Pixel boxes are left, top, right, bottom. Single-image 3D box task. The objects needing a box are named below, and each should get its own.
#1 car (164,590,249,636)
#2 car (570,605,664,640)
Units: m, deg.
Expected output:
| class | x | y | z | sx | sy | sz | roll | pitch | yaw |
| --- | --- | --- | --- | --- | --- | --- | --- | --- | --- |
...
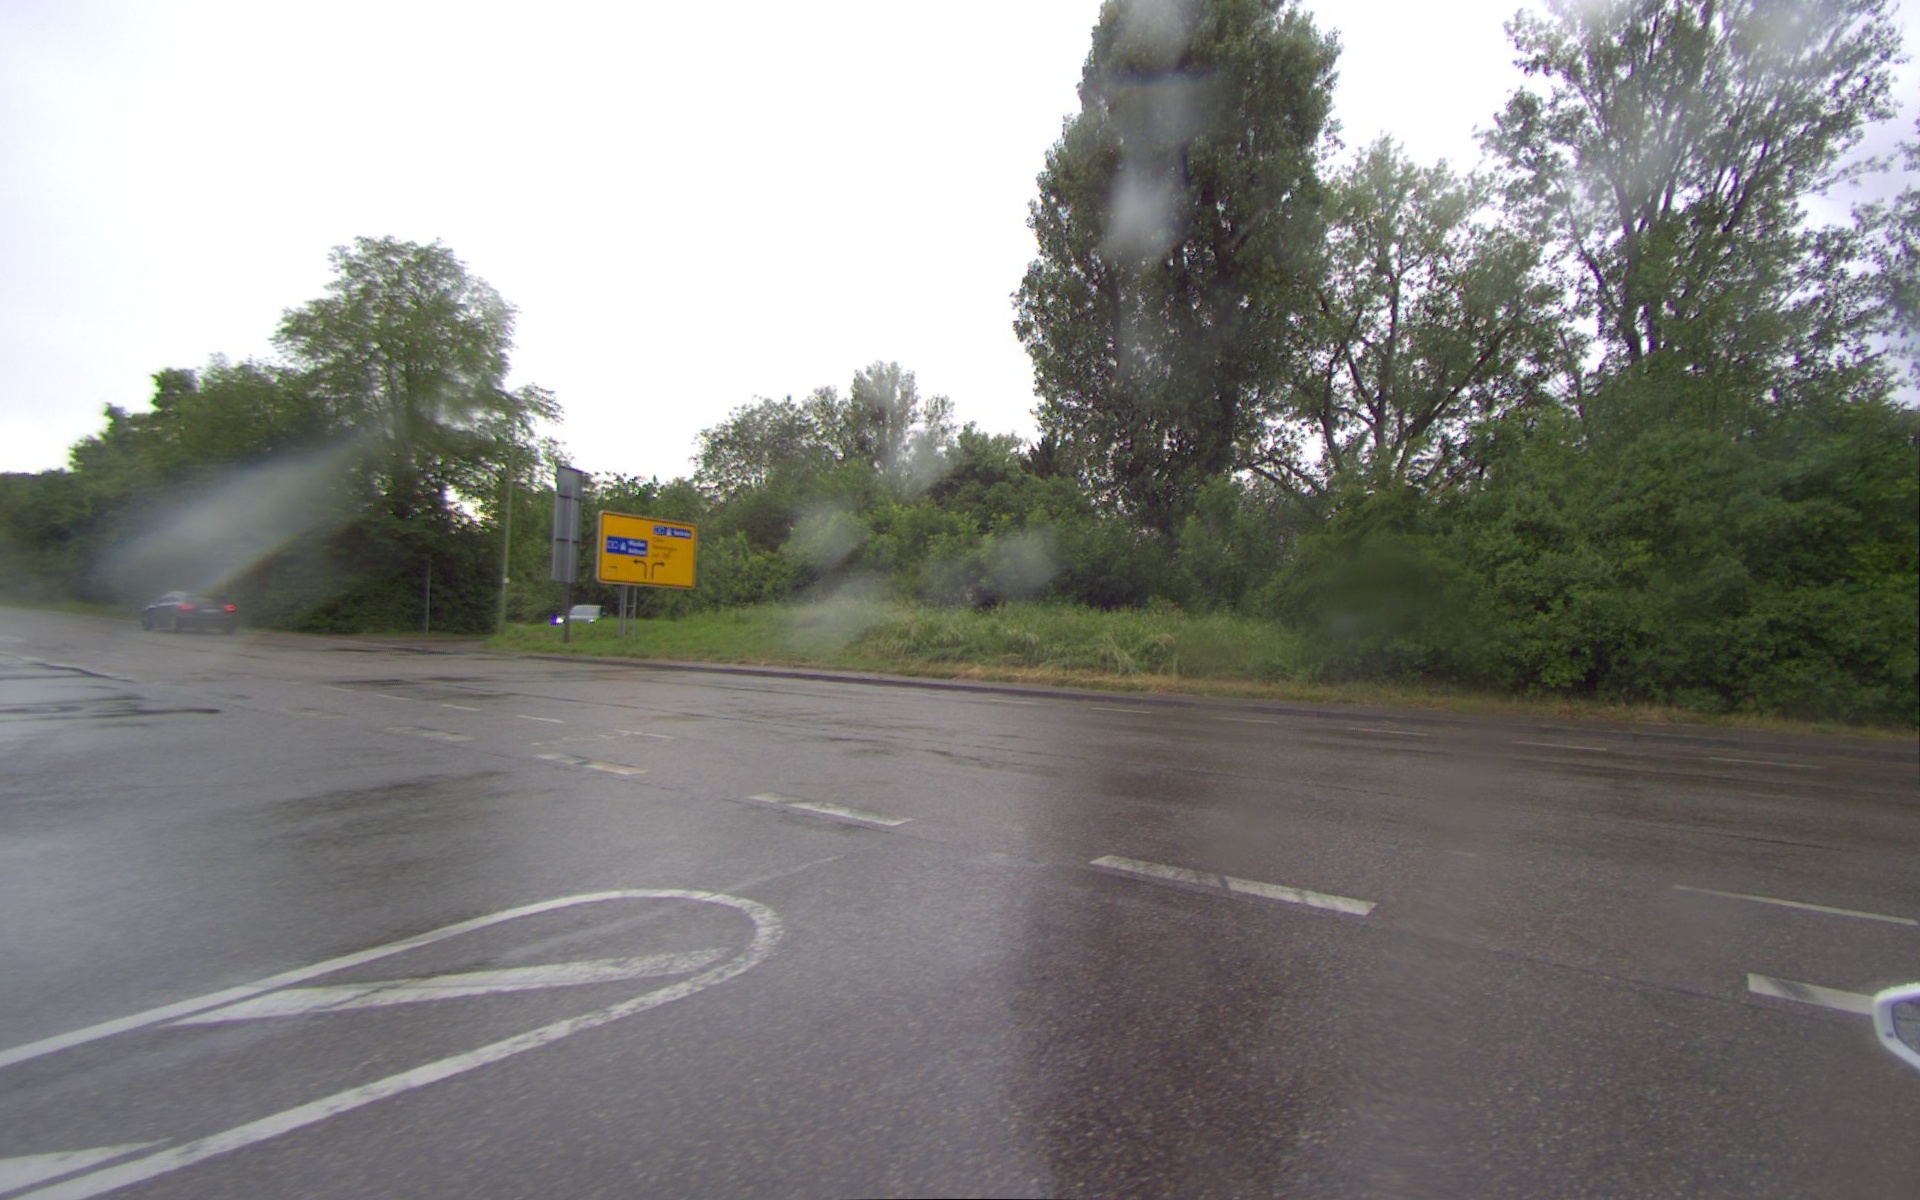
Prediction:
| class | x | y | z | sx | sy | sz | roll | pitch | yaw |
| --- | --- | --- | --- | --- | --- | --- | --- | --- | --- |
| car | -26.608 | 0.443 | 35.419 | 3.946 | 1.544 | 1.824 | 1 | -1 | 45 |
| car | -15.847 | 1.037 | 46.612 | 1.821 | 1.509 | 4.119 | 1 | -1 | 23 |
